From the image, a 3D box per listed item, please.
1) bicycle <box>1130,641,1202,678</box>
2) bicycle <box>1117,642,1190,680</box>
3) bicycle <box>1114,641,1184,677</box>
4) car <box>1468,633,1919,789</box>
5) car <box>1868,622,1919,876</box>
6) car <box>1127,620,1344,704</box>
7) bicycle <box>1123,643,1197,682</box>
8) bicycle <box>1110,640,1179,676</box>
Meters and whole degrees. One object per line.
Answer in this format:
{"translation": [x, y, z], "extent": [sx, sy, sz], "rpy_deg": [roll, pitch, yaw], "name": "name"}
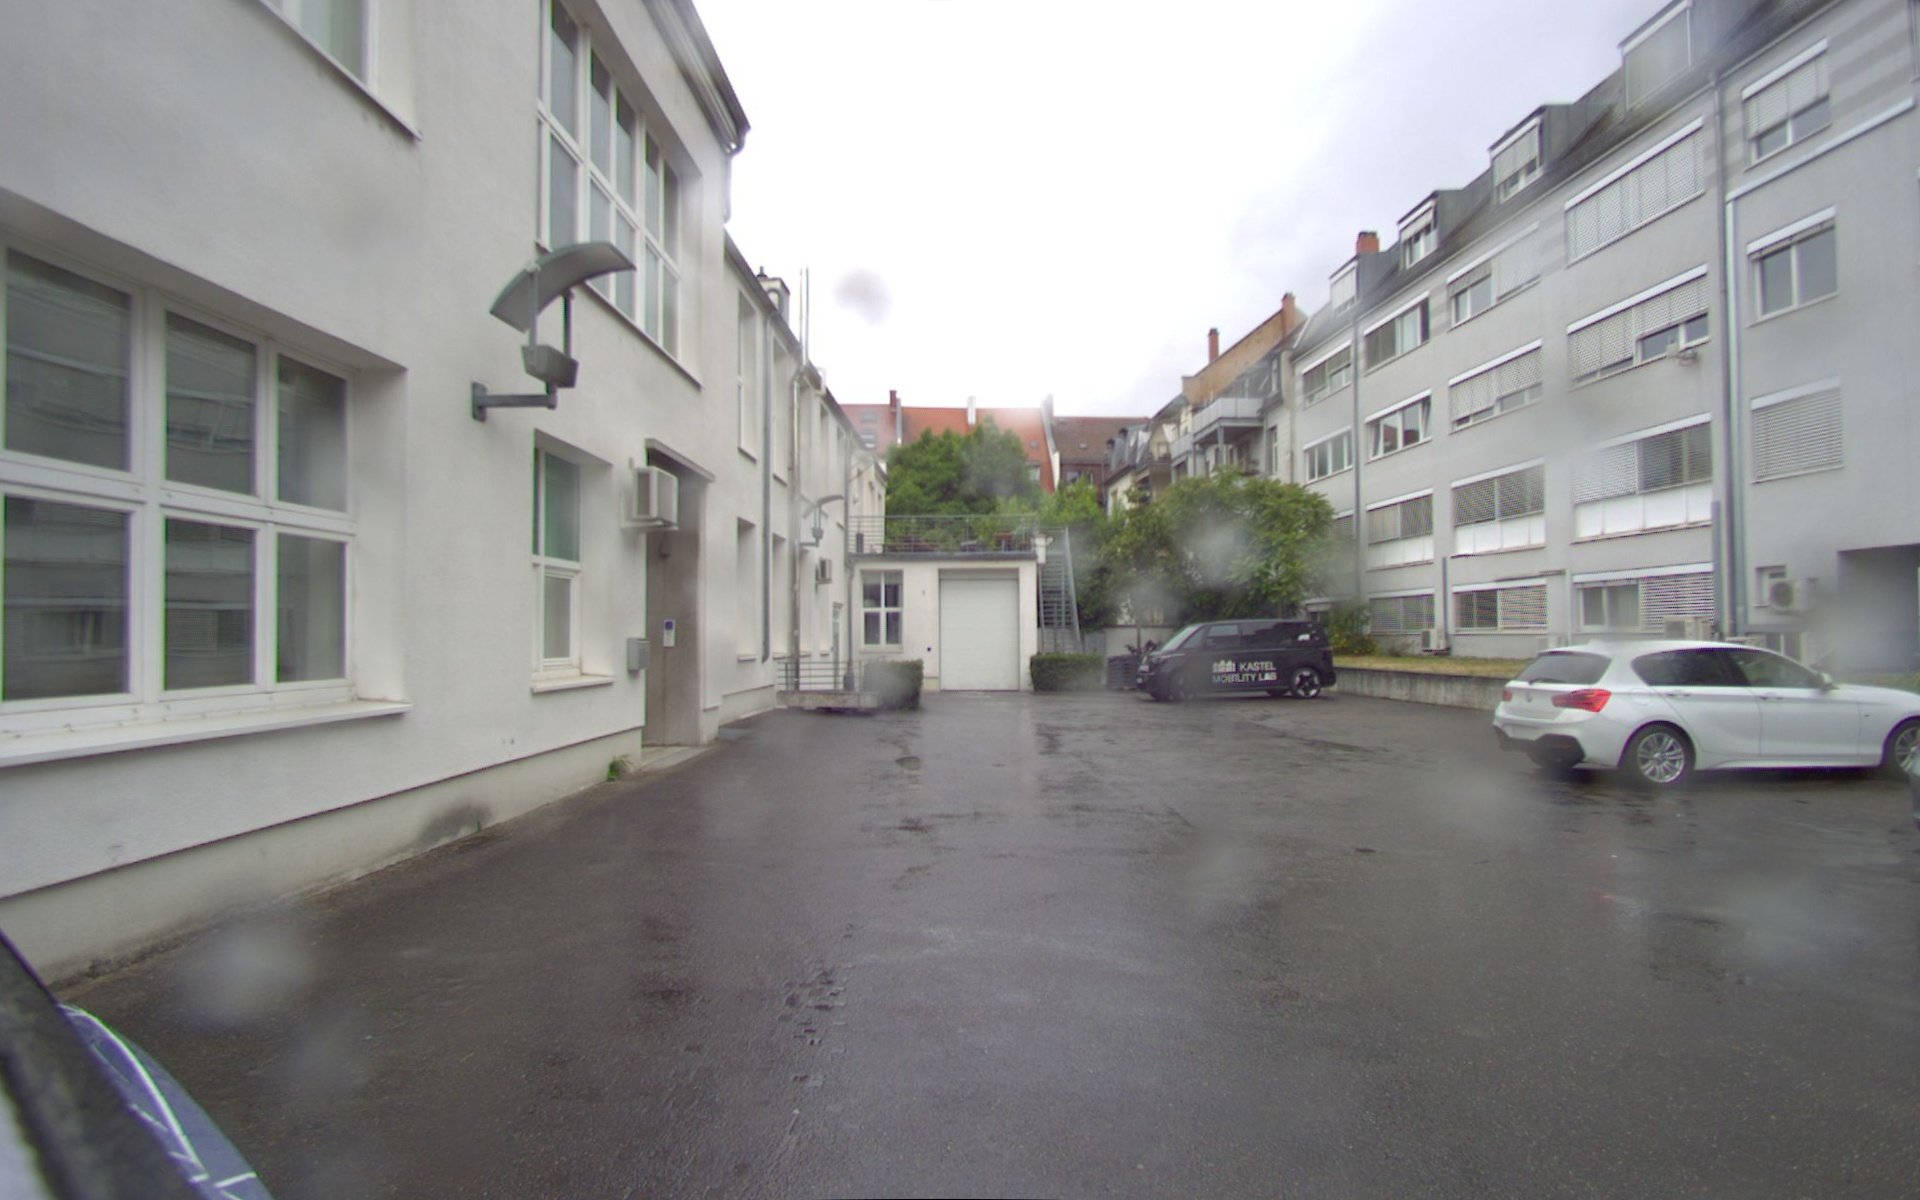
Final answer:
{"translation": [6.984, 2.016, 34.321], "extent": [2.290, 1.195, 0.643], "rpy_deg": [-1, 0, 3], "name": "bicycle"}
{"translation": [6.422, 2.024, 33.683], "extent": [2.290, 1.195, 0.643], "rpy_deg": [-1, 0, 3], "name": "bicycle"}
{"translation": [6.489, 2.023, 34.848], "extent": [2.290, 1.195, 0.643], "rpy_deg": [-1, 0, 3], "name": "bicycle"}
{"translation": [7.820, 1.081, 10.580], "extent": [4.092, 1.444, 1.754], "rpy_deg": [0, -2, -2], "name": "car"}
{"translation": [7.747, 0.831, 5.410], "extent": [4.118, 1.495, 1.823], "rpy_deg": [0, -3, -2], "name": "car"}
{"translation": [6.550, 1.481, 24.416], "extent": [4.561, 1.851, 1.990], "rpy_deg": [-1, -4, -5], "name": "car"}
{"translation": [6.481, 2.023, 32.881], "extent": [2.290, 1.195, 0.643], "rpy_deg": [-1, 0, 3], "name": "bicycle"}
{"translation": [6.457, 2.023, 35.483], "extent": [2.290, 1.195, 0.643], "rpy_deg": [-1, 0, 3], "name": "bicycle"}
